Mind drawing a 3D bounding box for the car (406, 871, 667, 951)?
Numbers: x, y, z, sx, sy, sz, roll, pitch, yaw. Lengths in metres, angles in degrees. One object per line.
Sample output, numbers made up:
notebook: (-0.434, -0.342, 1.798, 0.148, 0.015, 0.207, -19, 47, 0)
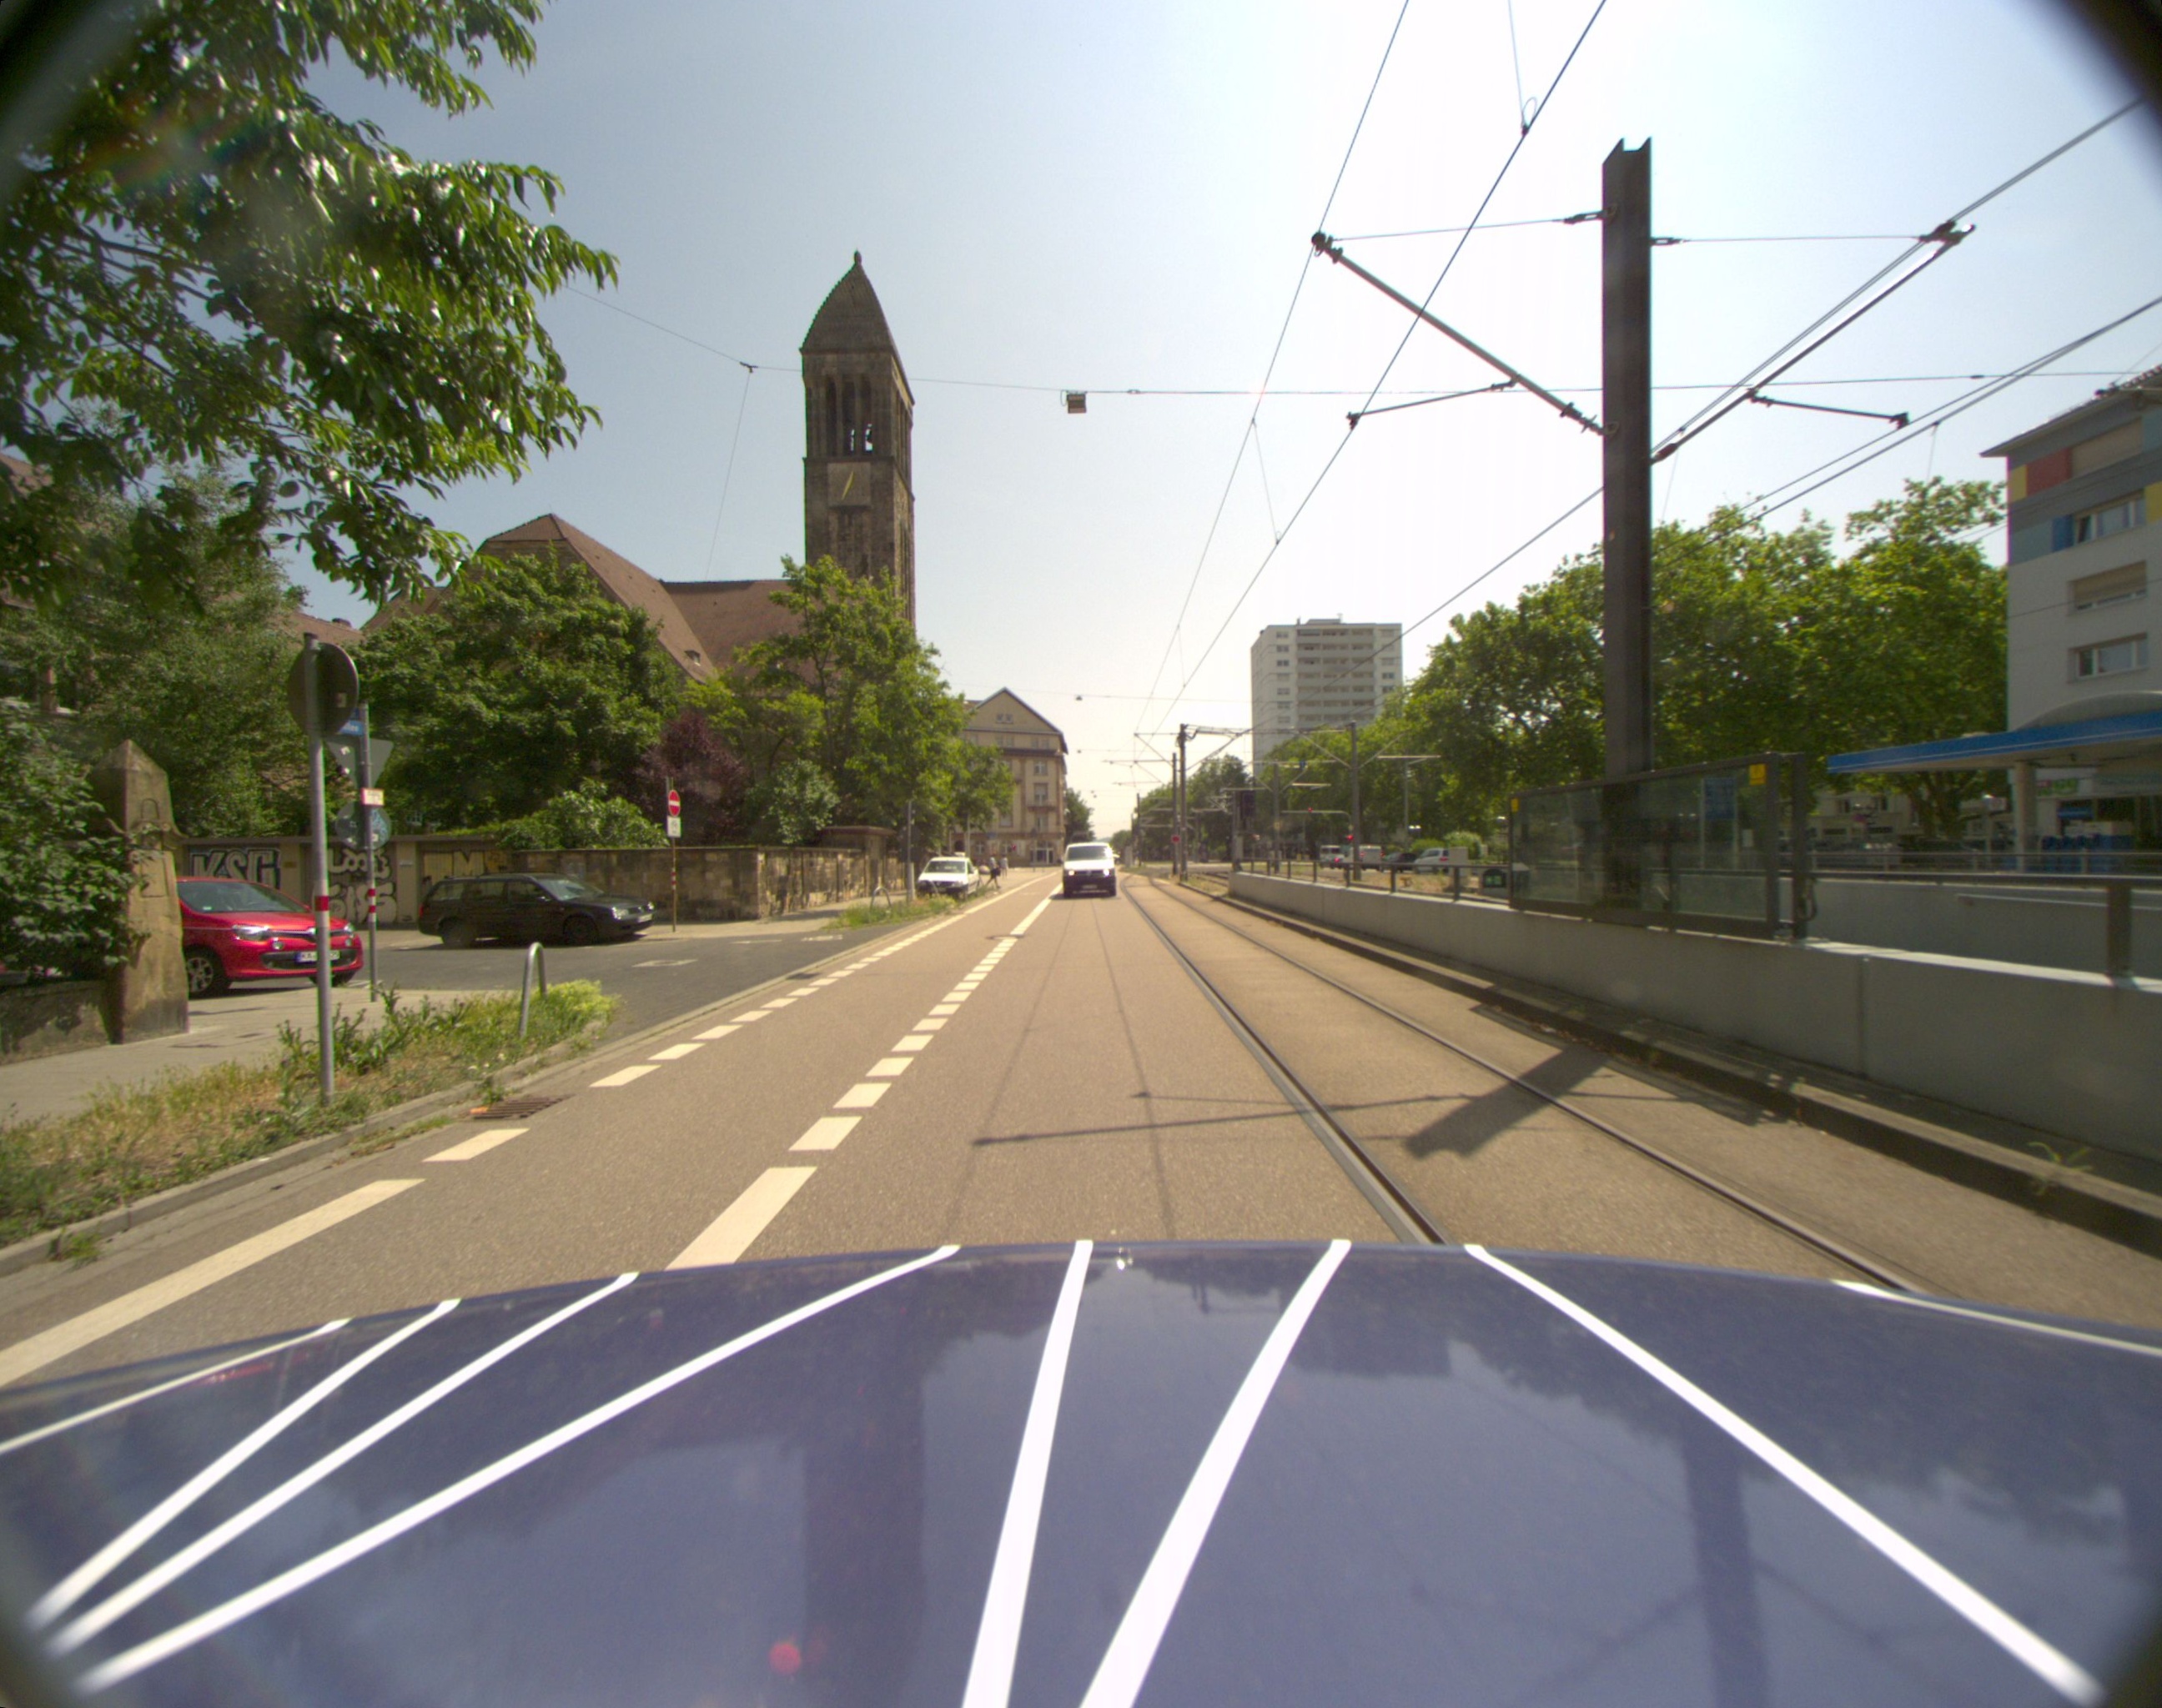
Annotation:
car: (-11.253, 1.149, 15.915, 4.192, 1.482, 1.673, -1, 1, -1)

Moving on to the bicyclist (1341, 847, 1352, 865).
bicyclist: (25.585, 0.176, 73.194, 0.640, 1.676, 0.868, -2, 1, -2)

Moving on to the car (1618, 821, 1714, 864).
car: (34.597, -0.695, 45.170, 1.851, 2.379, 4.980, -3, 1, 0)

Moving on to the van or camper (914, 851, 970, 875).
van or camper: (-10.902, 0.723, 59.801, 3.997, 1.814, 1.803, 1, -2, 0)

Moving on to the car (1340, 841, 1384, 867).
car: (22.556, -0.034, 61.220, 1.781, 1.979, 4.804, -1, 0, 0)

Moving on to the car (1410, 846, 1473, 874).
car: (22.251, 0.358, 47.120, 1.851, 1.616, 4.602, 0, 0, 2)

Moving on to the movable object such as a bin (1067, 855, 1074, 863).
movable object such as a bin: (-1.784, 0.834, 130.254, 1.214, 1.428, 1.008, -2, 1, -3)

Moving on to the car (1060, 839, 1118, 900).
car: (0.374, 0.496, 27.302, 1.852, 1.942, 4.943, -1, 0, 3)

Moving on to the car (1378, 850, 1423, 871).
car: (22.468, 0.412, 53.553, 1.600, 1.412, 3.782, 1, 0, 1)

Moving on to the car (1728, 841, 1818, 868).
car: (41.889, 0.048, 46.124, 1.867, 1.517, 4.000, -1, 0, 1)

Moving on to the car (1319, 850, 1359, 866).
car: (22.759, 0.348, 67.288, 1.952, 1.351, 4.628, -1, 0, 0)

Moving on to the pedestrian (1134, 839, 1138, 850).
pedestrian: (8.588, -1.442, 118.362, 0.679, 1.695, 0.554, -2, 1, 4)

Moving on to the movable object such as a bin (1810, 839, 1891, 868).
movable object such as a bin: (44.708, -0.020, 44.183, 2.723, 1.601, 1.986, -1, 1, 1)

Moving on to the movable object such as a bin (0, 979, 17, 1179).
movable object such as a bin: (-5.909, 1.154, 3.621, 0.789, 1.008, 0.650, -2, 1, 7)

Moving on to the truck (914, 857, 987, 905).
truck: (-4.639, 0.911, 27.602, 1.794, 1.517, 4.465, -1, 0, 0)

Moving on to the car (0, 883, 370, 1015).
car: (-11.763, 1.187, 9.965, 3.459, 1.482, 1.555, -1, 1, 3)

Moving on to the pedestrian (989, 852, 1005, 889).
pedestrian: (-3.985, 0.769, 36.110, 0.622, 1.744, 0.678, -2, 1, 3)

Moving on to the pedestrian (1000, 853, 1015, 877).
pedestrian: (-5.021, 0.749, 52.021, 0.795, 1.641, 0.967, -2, 1, 3)

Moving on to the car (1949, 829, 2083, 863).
car: (58.174, -0.471, 47.456, 1.922, 1.979, 5.106, -1, 0, -4)

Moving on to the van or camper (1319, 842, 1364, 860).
van or camper: (35.960, -0.414, 104.861, 5.909, 2.447, 2.069, -1, 0, -24)

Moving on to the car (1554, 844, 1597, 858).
car: (49.711, -0.313, 76.470, 3.342, 1.376, 1.472, -2, 0, 0)

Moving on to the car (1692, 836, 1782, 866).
car: (39.507, -0.169, 45.898, 1.998, 1.710, 4.000, -1, 0, 1)
